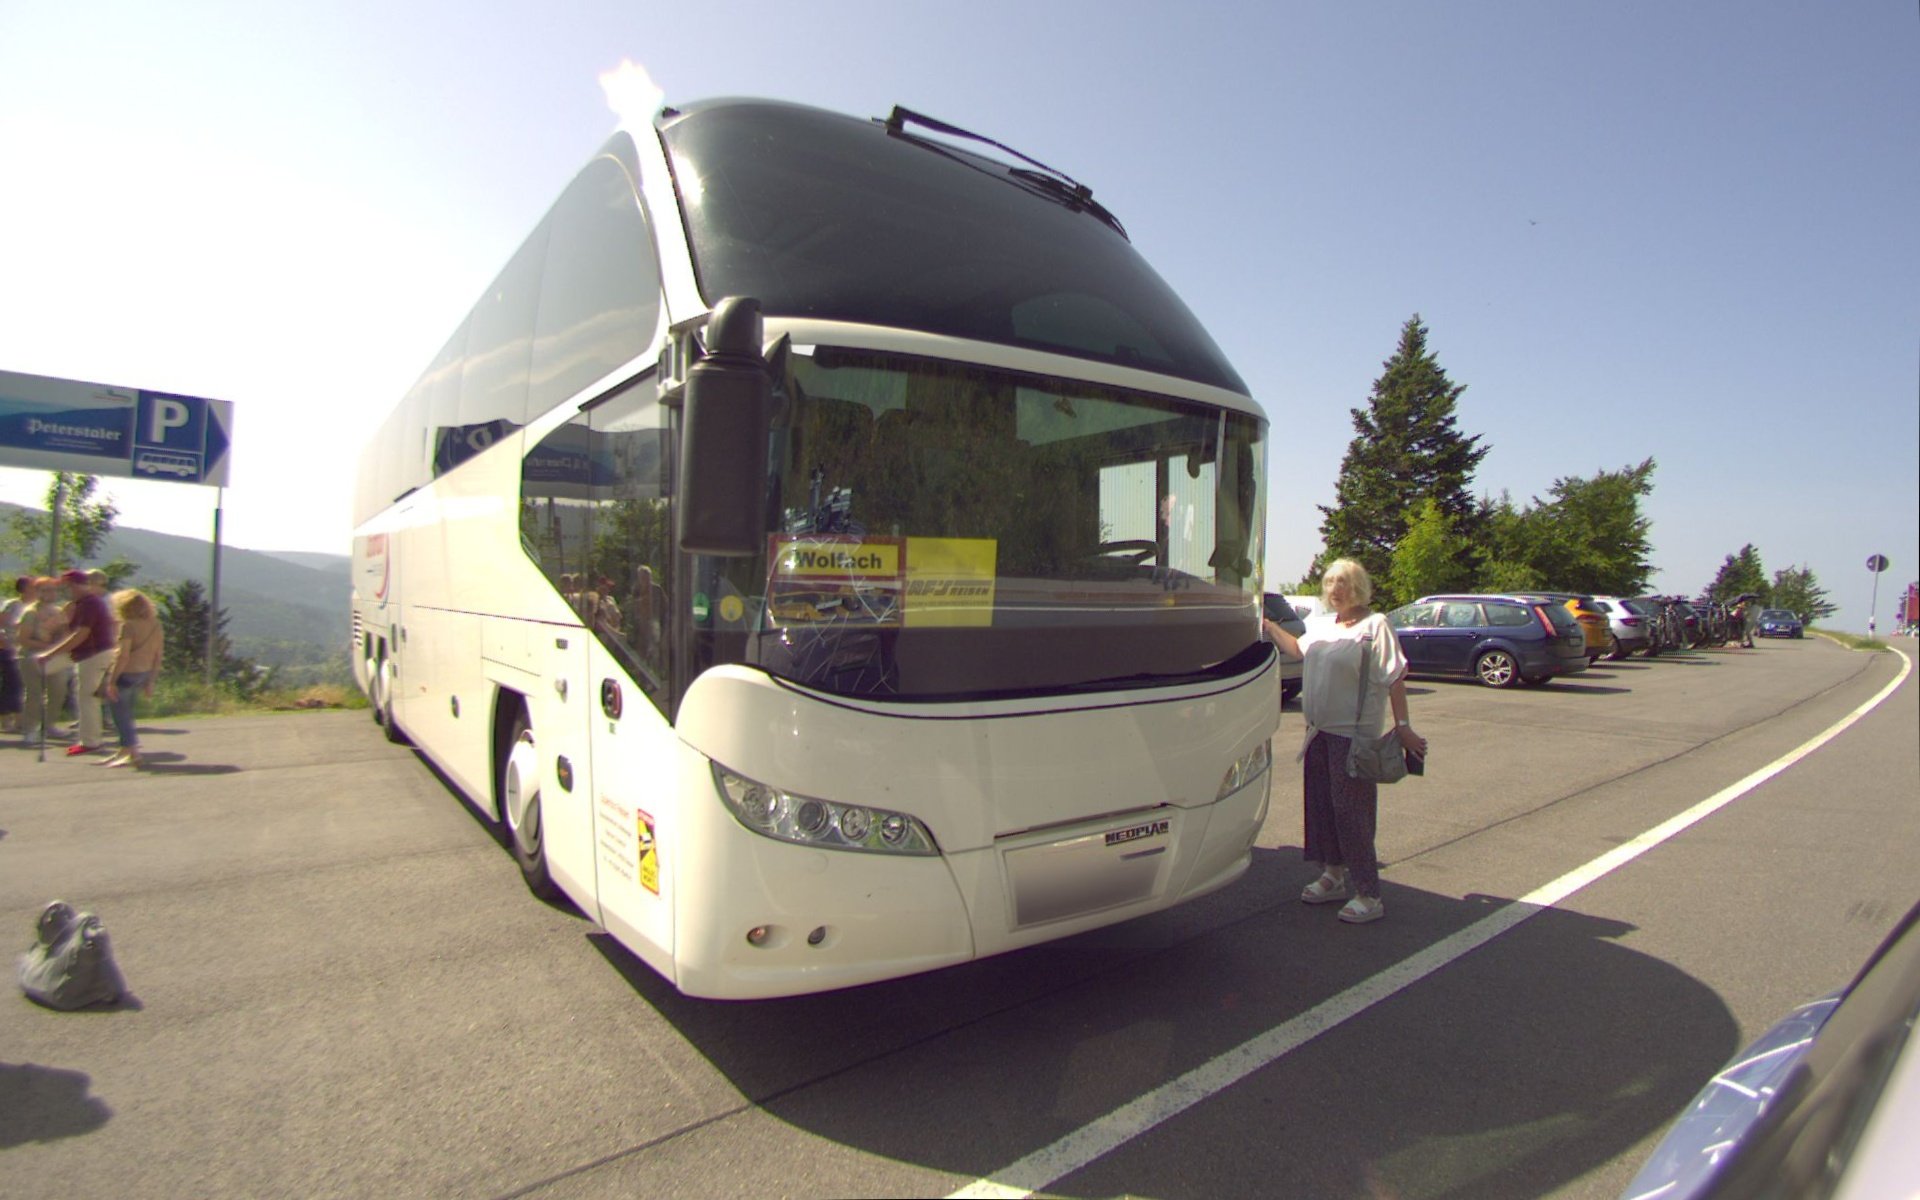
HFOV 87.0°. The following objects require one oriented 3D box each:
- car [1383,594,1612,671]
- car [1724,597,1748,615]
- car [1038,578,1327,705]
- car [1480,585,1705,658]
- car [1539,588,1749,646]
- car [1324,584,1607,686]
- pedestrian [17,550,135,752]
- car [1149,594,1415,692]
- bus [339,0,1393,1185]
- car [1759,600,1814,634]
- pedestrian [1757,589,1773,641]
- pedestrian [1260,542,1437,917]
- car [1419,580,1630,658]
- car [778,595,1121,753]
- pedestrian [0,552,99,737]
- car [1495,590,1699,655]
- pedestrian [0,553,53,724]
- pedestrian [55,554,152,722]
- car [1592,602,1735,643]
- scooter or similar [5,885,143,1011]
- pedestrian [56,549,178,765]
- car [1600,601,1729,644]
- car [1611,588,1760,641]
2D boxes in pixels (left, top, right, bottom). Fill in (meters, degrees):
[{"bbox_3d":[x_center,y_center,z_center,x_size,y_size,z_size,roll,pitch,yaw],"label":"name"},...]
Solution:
[{"bbox_3d":[11.042,0.637,20.965,1.587,1.438,3.886,-1,0,-43],"label":"car"},{"bbox_3d":[92.141,0.656,120.197,1.987,2.039,3.950,1,1,35],"label":"car"},{"bbox_3d":[3.119,0.516,14.876,1.734,1.594,3.997,0,0,-38],"label":"car"},{"bbox_3d":[15.680,0.506,25.238,4.474,1.647,1.982,-1,-1,44],"label":"car"},{"bbox_3d":[21.078,0.565,31.362,5.100,1.641,1.968,-3,-2,44],"label":"car"},{"bbox_3d":[8.698,0.528,17.704,1.642,1.563,4.138,1,0,-40],"label":"car"},{"bbox_3d":[-7.842,0.431,9.006,0.615,1.718,0.633,1,0,-23],"label":"pedestrian"},{"bbox_3d":[5.265,0.640,16.973,1.734,1.438,3.997,0,0,-38],"label":"car"},{"bbox_3d":[-3.110,-0.512,8.543,2.785,3.622,12.889,0,1,-35],"label":"bus"},{"bbox_3d":[41.781,0.838,51.228,1.989,1.566,3.947,1,1,37],"label":"car"},{"bbox_3d":[29.126,0.536,36.605,0.366,1.845,0.541,2,1,42],"label":"pedestrian"},{"bbox_3d":[1.893,0.566,4.964,0.736,1.663,0.704,1,0,22],"label":"pedestrian"},{"bbox_3d":[12.732,0.437,22.981,1.681,1.636,3.878,1,-2,-44],"label":"car"},{"bbox_3d":[-0.345,0.659,11.431,1.685,1.414,4.438,0,0,-35],"label":"car"},{"bbox_3d":[-8.892,0.406,9.768,0.622,1.718,0.626,1,0,12],"label":"pedestrian"},{"bbox_3d":[17.125,0.613,27.359,4.417,1.639,1.725,-2,-2,44],"label":"car"},{"bbox_3d":[-9.757,0.385,10.427,0.474,1.718,0.469,1,0,-23],"label":"pedestrian"},{"bbox_3d":[-9.082,0.388,10.759,0.615,1.718,0.633,1,0,-23],"label":"pedestrian"},{"bbox_3d":[23.049,0.729,33.226,3.698,1.285,1.540,0,-2,43],"label":"car"},{"bbox_3d":[-3.224,1.259,3.697,0.320,0.315,0.286,0,1,-28],"label":"scooter or similar"},{"bbox_3d":[-7.032,0.450,8.471,0.615,1.718,0.633,1,0,-23],"label":"pedestrian"},{"bbox_3d":[24.829,0.768,35.736,3.665,1.368,1.715,1,0,37],"label":"car"},{"bbox_3d":[27.008,0.508,37.727,4.312,1.845,1.969,1,0,43],"label":"car"}]
